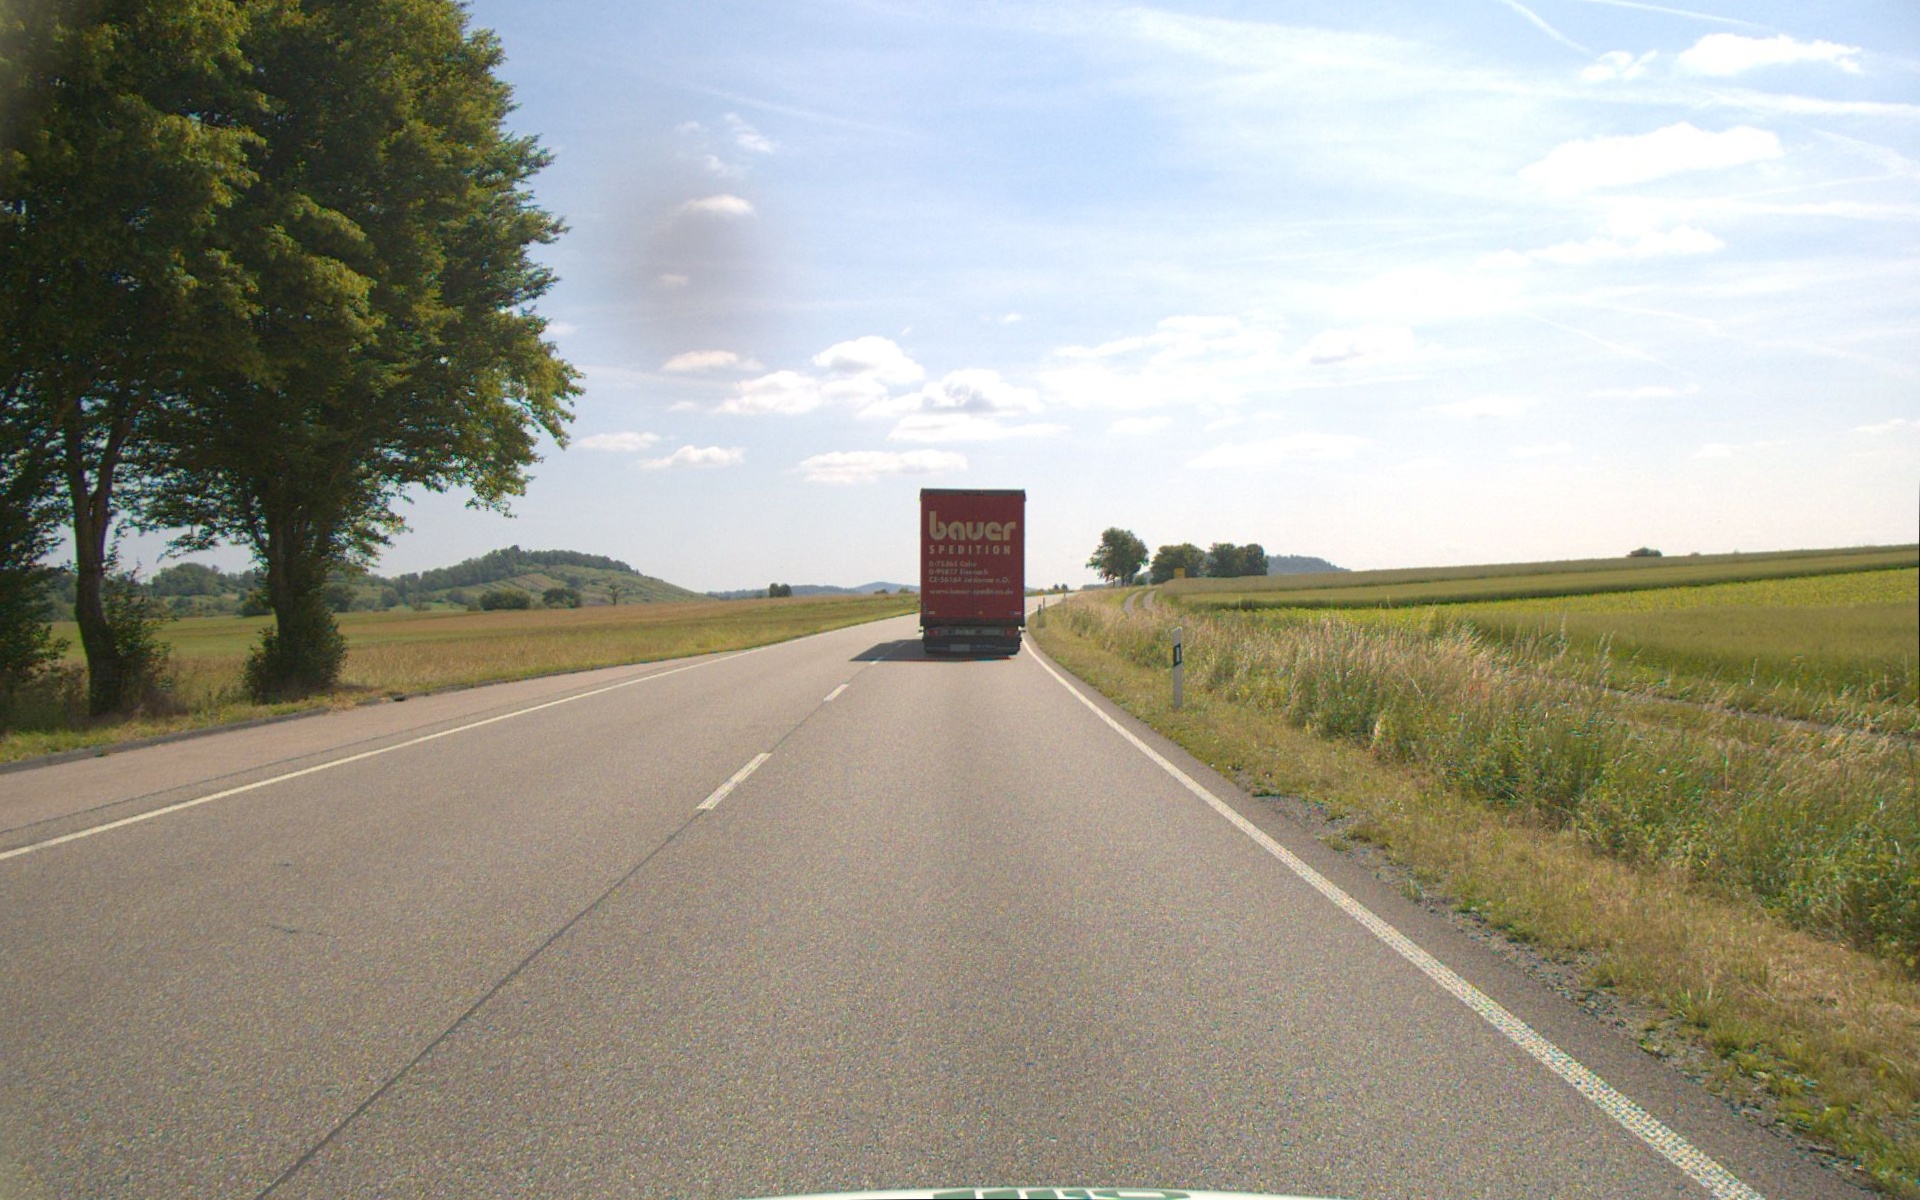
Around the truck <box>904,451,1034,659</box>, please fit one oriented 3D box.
[{"bbox_3d":[0.117,-1.045,43.584,2.915,4.795,9.363,2,0,-1],"label":"truck"}]
